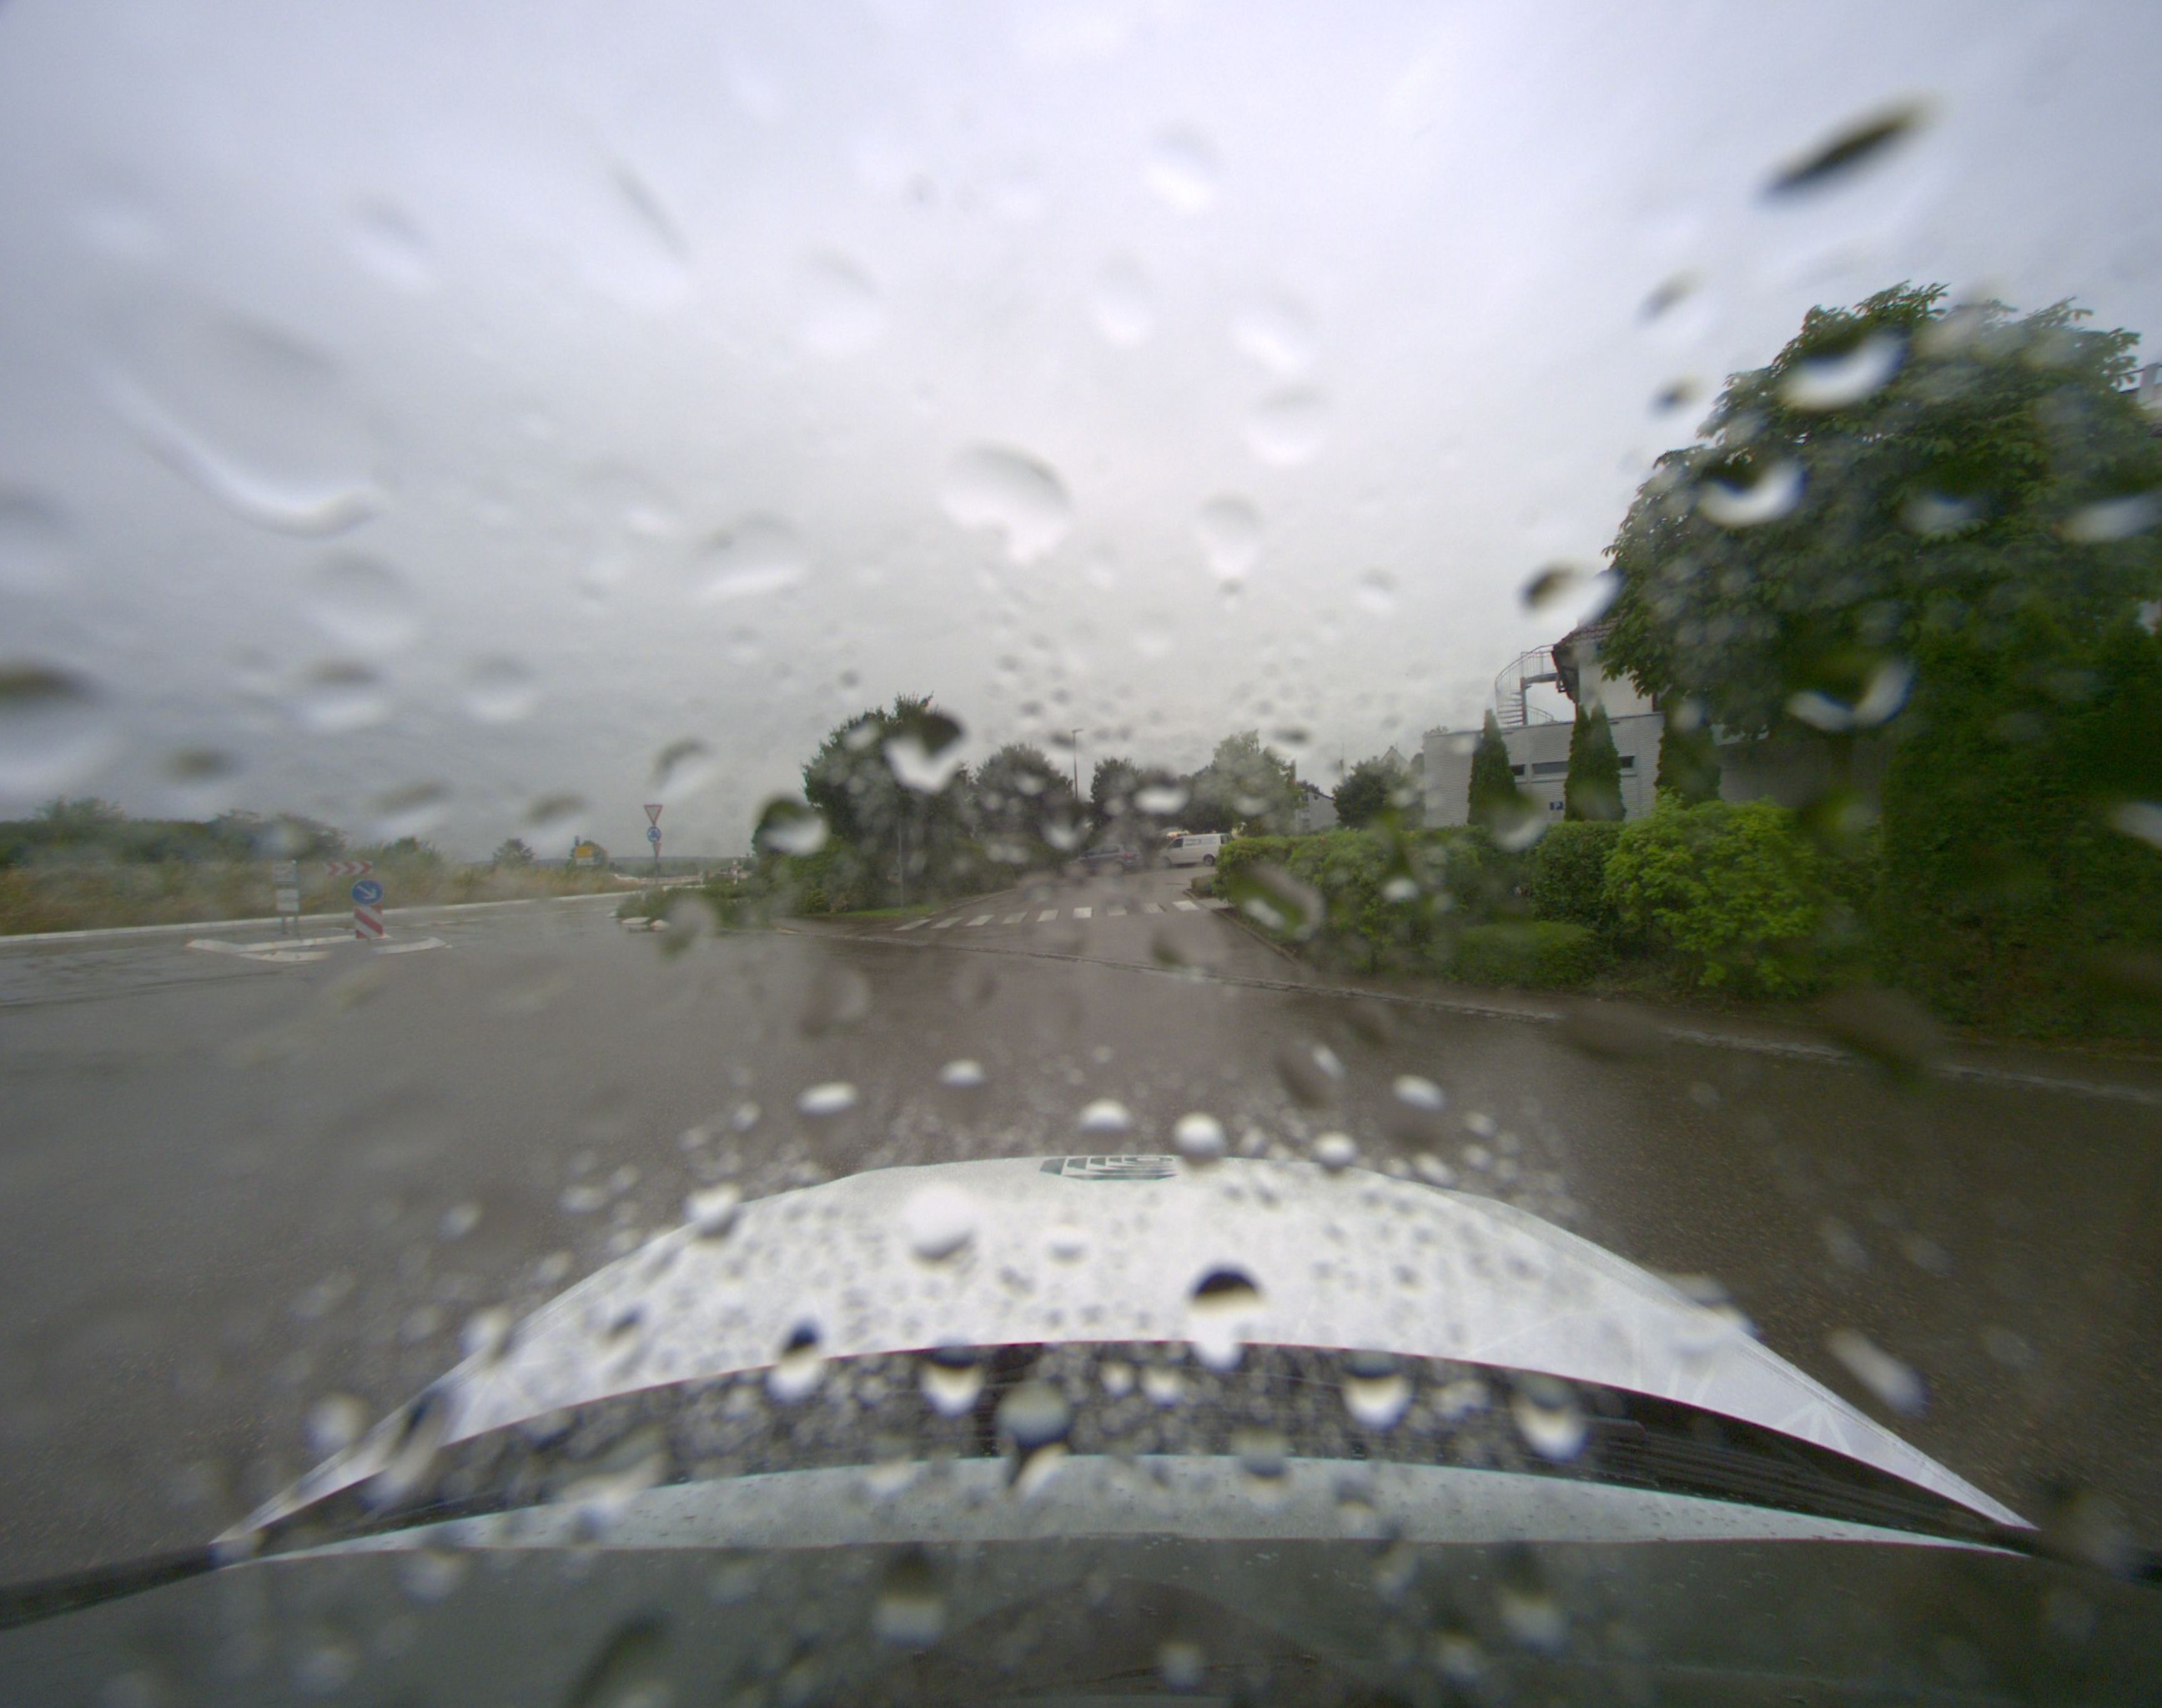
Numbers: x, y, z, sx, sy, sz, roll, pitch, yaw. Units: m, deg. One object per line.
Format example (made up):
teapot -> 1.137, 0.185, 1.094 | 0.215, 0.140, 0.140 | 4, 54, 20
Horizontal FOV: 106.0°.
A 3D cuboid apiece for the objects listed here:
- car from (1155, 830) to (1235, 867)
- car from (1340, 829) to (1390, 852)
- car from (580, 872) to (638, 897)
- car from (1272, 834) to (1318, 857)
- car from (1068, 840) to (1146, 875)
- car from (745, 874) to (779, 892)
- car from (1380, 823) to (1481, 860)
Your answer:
car -> 6.963, -0.317, 50.047 | 4.476, 2.033, 1.656 | -3, 1, 33
car -> 20.052, -0.909, 57.575 | 1.582, 1.458, 3.664 | -4, 0, -13
car -> -37.962, 2.442, 65.519 | 4.313, 1.758, 1.759 | -3, 0, 23
car -> 14.967, -0.566, 57.173 | 1.582, 1.458, 3.664 | -4, 0, -13
car -> 1.305, 0.198, 41.798 | 3.695, 1.551, 1.460 | -3, 1, 33
car -> -26.189, 2.364, 66.909 | 1.303, 1.222, 3.334 | -3, 0, 2
car -> 16.725, -0.575, 38.999 | 4.134, 1.497, 1.729 | -4, 0, 32
